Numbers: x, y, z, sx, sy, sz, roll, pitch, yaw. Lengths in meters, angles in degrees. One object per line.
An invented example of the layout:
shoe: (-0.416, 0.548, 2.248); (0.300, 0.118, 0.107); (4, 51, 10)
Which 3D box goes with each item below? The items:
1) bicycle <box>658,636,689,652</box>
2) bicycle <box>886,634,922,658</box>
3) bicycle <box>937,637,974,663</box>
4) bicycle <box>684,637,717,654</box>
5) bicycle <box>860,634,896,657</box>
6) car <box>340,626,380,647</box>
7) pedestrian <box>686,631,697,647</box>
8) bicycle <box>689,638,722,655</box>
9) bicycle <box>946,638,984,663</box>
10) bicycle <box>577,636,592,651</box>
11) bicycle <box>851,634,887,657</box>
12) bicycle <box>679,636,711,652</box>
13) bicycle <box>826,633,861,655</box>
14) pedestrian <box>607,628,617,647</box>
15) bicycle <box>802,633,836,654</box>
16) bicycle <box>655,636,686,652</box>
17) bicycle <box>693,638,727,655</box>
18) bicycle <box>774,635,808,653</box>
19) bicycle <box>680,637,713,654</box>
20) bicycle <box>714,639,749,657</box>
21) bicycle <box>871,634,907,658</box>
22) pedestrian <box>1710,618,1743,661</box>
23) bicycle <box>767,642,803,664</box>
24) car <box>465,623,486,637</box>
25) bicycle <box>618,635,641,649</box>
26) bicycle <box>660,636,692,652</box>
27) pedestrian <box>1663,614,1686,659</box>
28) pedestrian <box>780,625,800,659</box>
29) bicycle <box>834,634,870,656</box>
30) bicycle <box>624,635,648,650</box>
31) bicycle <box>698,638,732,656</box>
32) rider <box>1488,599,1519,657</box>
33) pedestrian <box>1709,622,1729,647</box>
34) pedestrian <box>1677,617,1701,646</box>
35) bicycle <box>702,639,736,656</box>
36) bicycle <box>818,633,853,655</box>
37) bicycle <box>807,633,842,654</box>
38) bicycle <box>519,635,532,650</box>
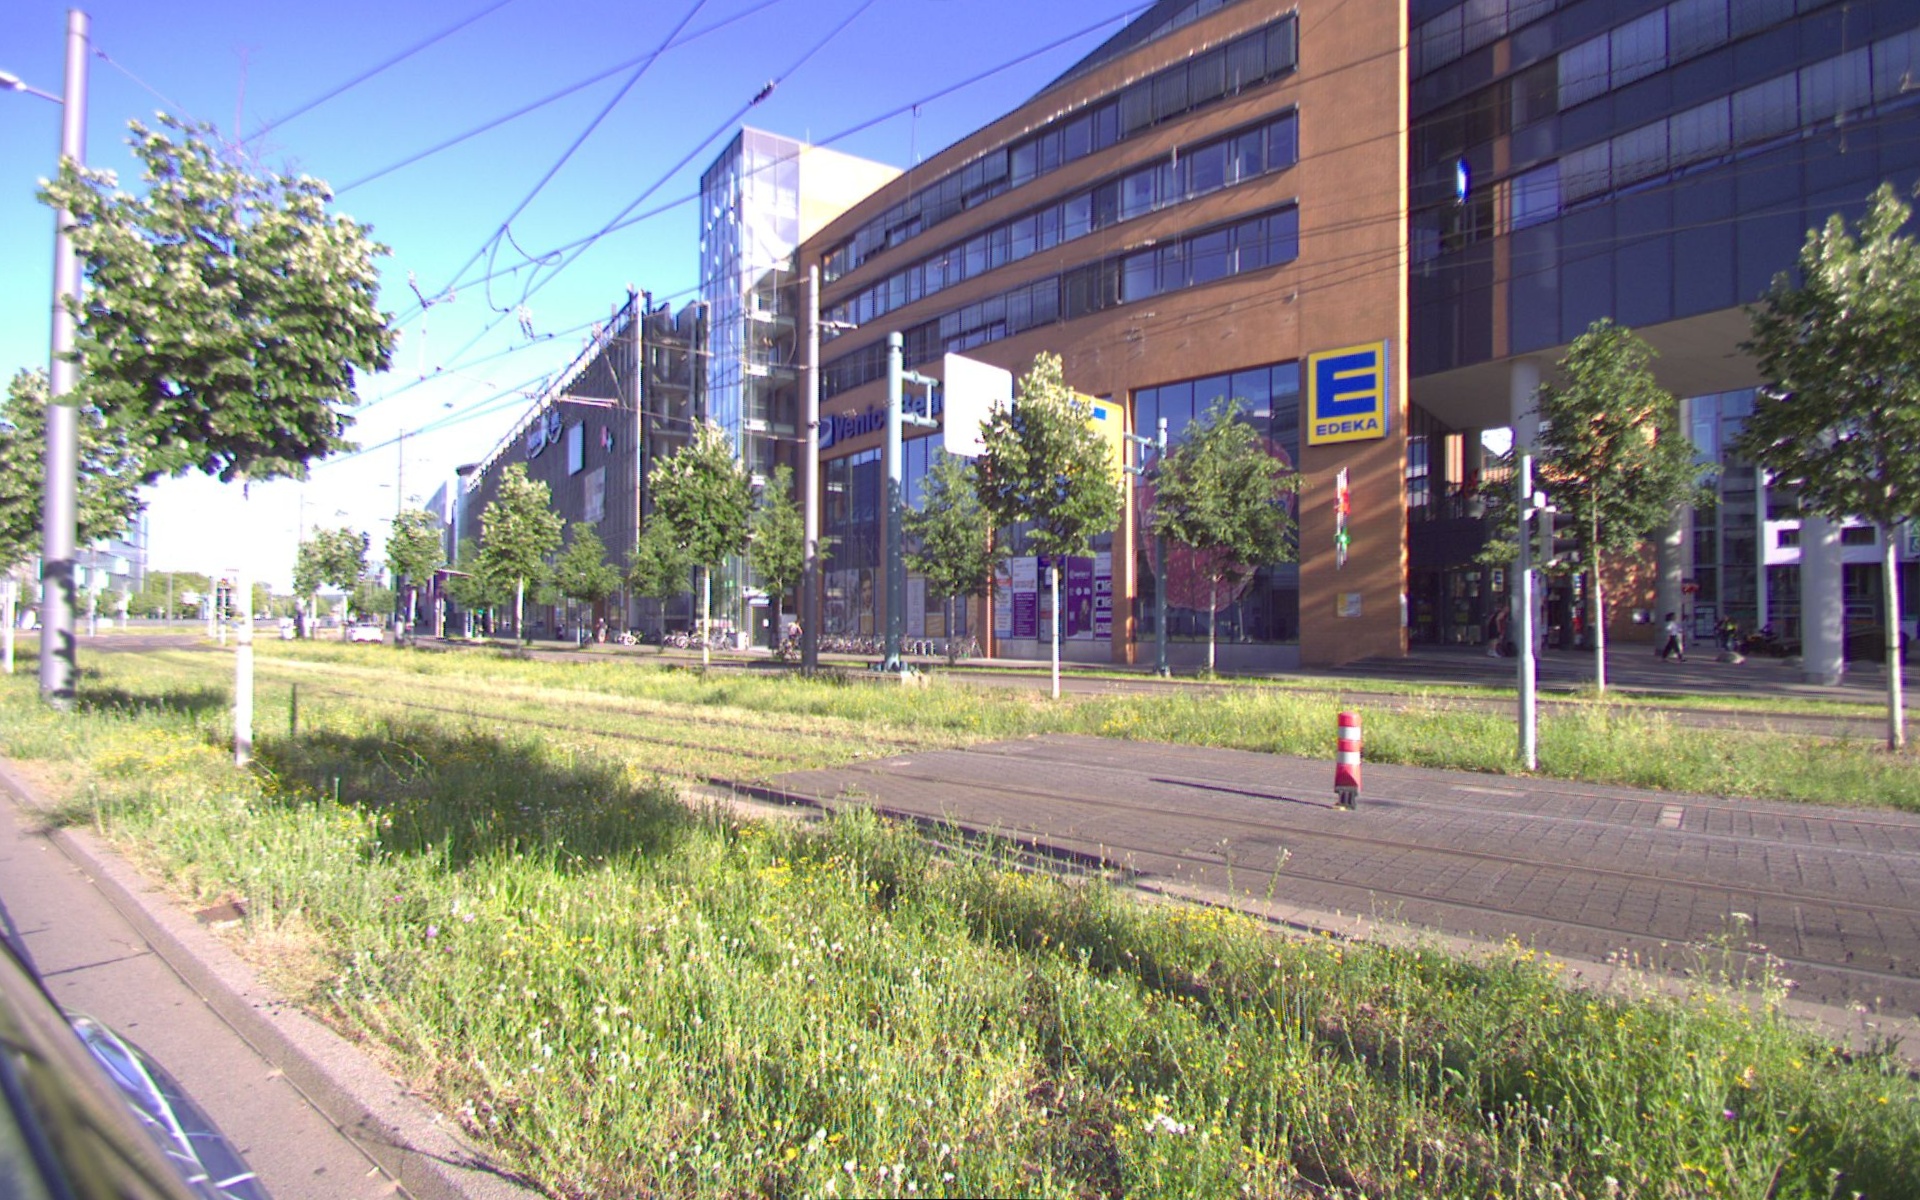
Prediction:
bicycle: (-17.583, 2.679, 62.081); (1.741, 0.933, 0.492); (1, -2, -33)
bicycle: (-2.613, 2.132, 47.275); (1.744, 1.057, 0.491); (1, -2, -42)
bicycle: (-0.188, 2.152, 43.692); (1.744, 1.057, 0.491); (1, -2, -42)
bicycle: (-14.927, 2.628, 58.196); (1.741, 0.933, 0.566); (1, -2, -33)
bicycle: (-3.860, 2.151, 47.913); (1.744, 1.057, 0.491); (1, -2, -42)
car: (-39.588, 2.398, 66.731); (1.782, 1.338, 4.415); (2, -2, -36)
pedestrian: (-17.927, 2.599, 67.601); (0.619, 1.063, 0.450); (1, -2, -36)
bicycle: (-14.487, 2.620, 57.616); (1.741, 0.933, 0.566); (1, -2, -33)
bicycle: (0.228, 2.145, 43.248); (1.744, 1.057, 0.491); (1, -2, -42)
bicycle: (-22.726, 2.645, 61.205); (0.380, 0.875, 1.775); (1, -2, -36)
bicycle: (-4.344, 2.159, 48.432); (1.744, 1.057, 0.491); (1, -2, -42)
bicycle: (-15.567, 2.561, 59.418); (1.741, 0.933, 0.492); (1, -2, -33)
bicycle: (-5.719, 2.183, 49.901); (1.744, 1.057, 0.491); (1, -2, -42)
pedestrian: (-24.009, 2.583, 69.770); (0.442, 1.299, 0.631); (1, -2, -36)
bicycle: (-7.198, 2.209, 51.612); (1.744, 1.057, 0.491); (1, -2, -42)
bicycle: (-17.915, 2.724, 62.588); (1.741, 0.933, 0.492); (1, -2, -33)
bicycle: (-14.083, 2.613, 57.040); (1.741, 0.933, 0.566); (1, -2, -33)
bicycle: (-9.363, 2.440, 56.067); (1.741, 0.933, 0.566); (1, -2, -33)
bicycle: (-15.300, 2.636, 58.791); (1.741, 0.933, 0.566); (1, -2, -33)
bicycle: (-12.419, 2.583, 54.986); (1.741, 0.933, 0.566); (1, -2, -33)
bicycle: (-3.336, 2.142, 47.446); (1.744, 1.057, 0.491); (1, -2, -42)
pedestrian: (31.095, 1.590, 41.059); (0.778, 1.720, 0.810); (0, 0, -32)
bicycle: (-7.258, 2.173, 41.917); (1.771, 0.875, 0.458); (-1, -2, 42)
car: (-56.764, 3.531, 118.491); (1.559, 1.541, 3.759); (0, 0, -37)
bicycle: (-22.071, 2.780, 67.586); (1.377, 0.933, 0.463); (1, -2, -33)
bicycle: (-17.245, 2.672, 61.473); (1.741, 0.933, 0.566); (1, -2, -33)
pedestrian: (23.715, 1.203, 33.596); (0.572, 1.491, 0.447); (-1, -1, 41)
pedestrian: (-8.480, 2.069, 50.627); (0.736, 1.681, 0.676); (1, -2, -43)
bicycle: (-5.261, 2.175, 49.358); (1.744, 1.057, 0.491); (1, -2, -42)
bicycle: (-21.242, 2.765, 66.334); (1.377, 0.933, 0.463); (1, -2, -33)
bicycle: (-13.652, 2.604, 56.360); (1.741, 0.933, 0.566); (1, -2, -33)
rider: (17.019, 0.874, 31.685); (0.712, 1.816, 0.710); (-1, -2, 42)
pedestrian: (40.194, 1.828, 53.593); (0.627, 1.287, 0.664); (0, 0, -32)
pedestrian: (38.861, 1.664, 53.927); (1.038, 1.491, 0.660); (0, 0, -32)
bicycle: (-13.256, 2.596, 55.672); (1.741, 0.933, 0.566); (1, -2, -33)
bicycle: (-6.193, 2.191, 50.384); (1.744, 1.057, 0.491); (1, -2, -42)
bicycle: (-6.848, 2.203, 51.214); (1.744, 1.057, 0.491); (1, -2, -42)
bicycle: (-27.415, 2.668, 63.827); (0.380, 0.930, 1.775); (1, -2, -36)
